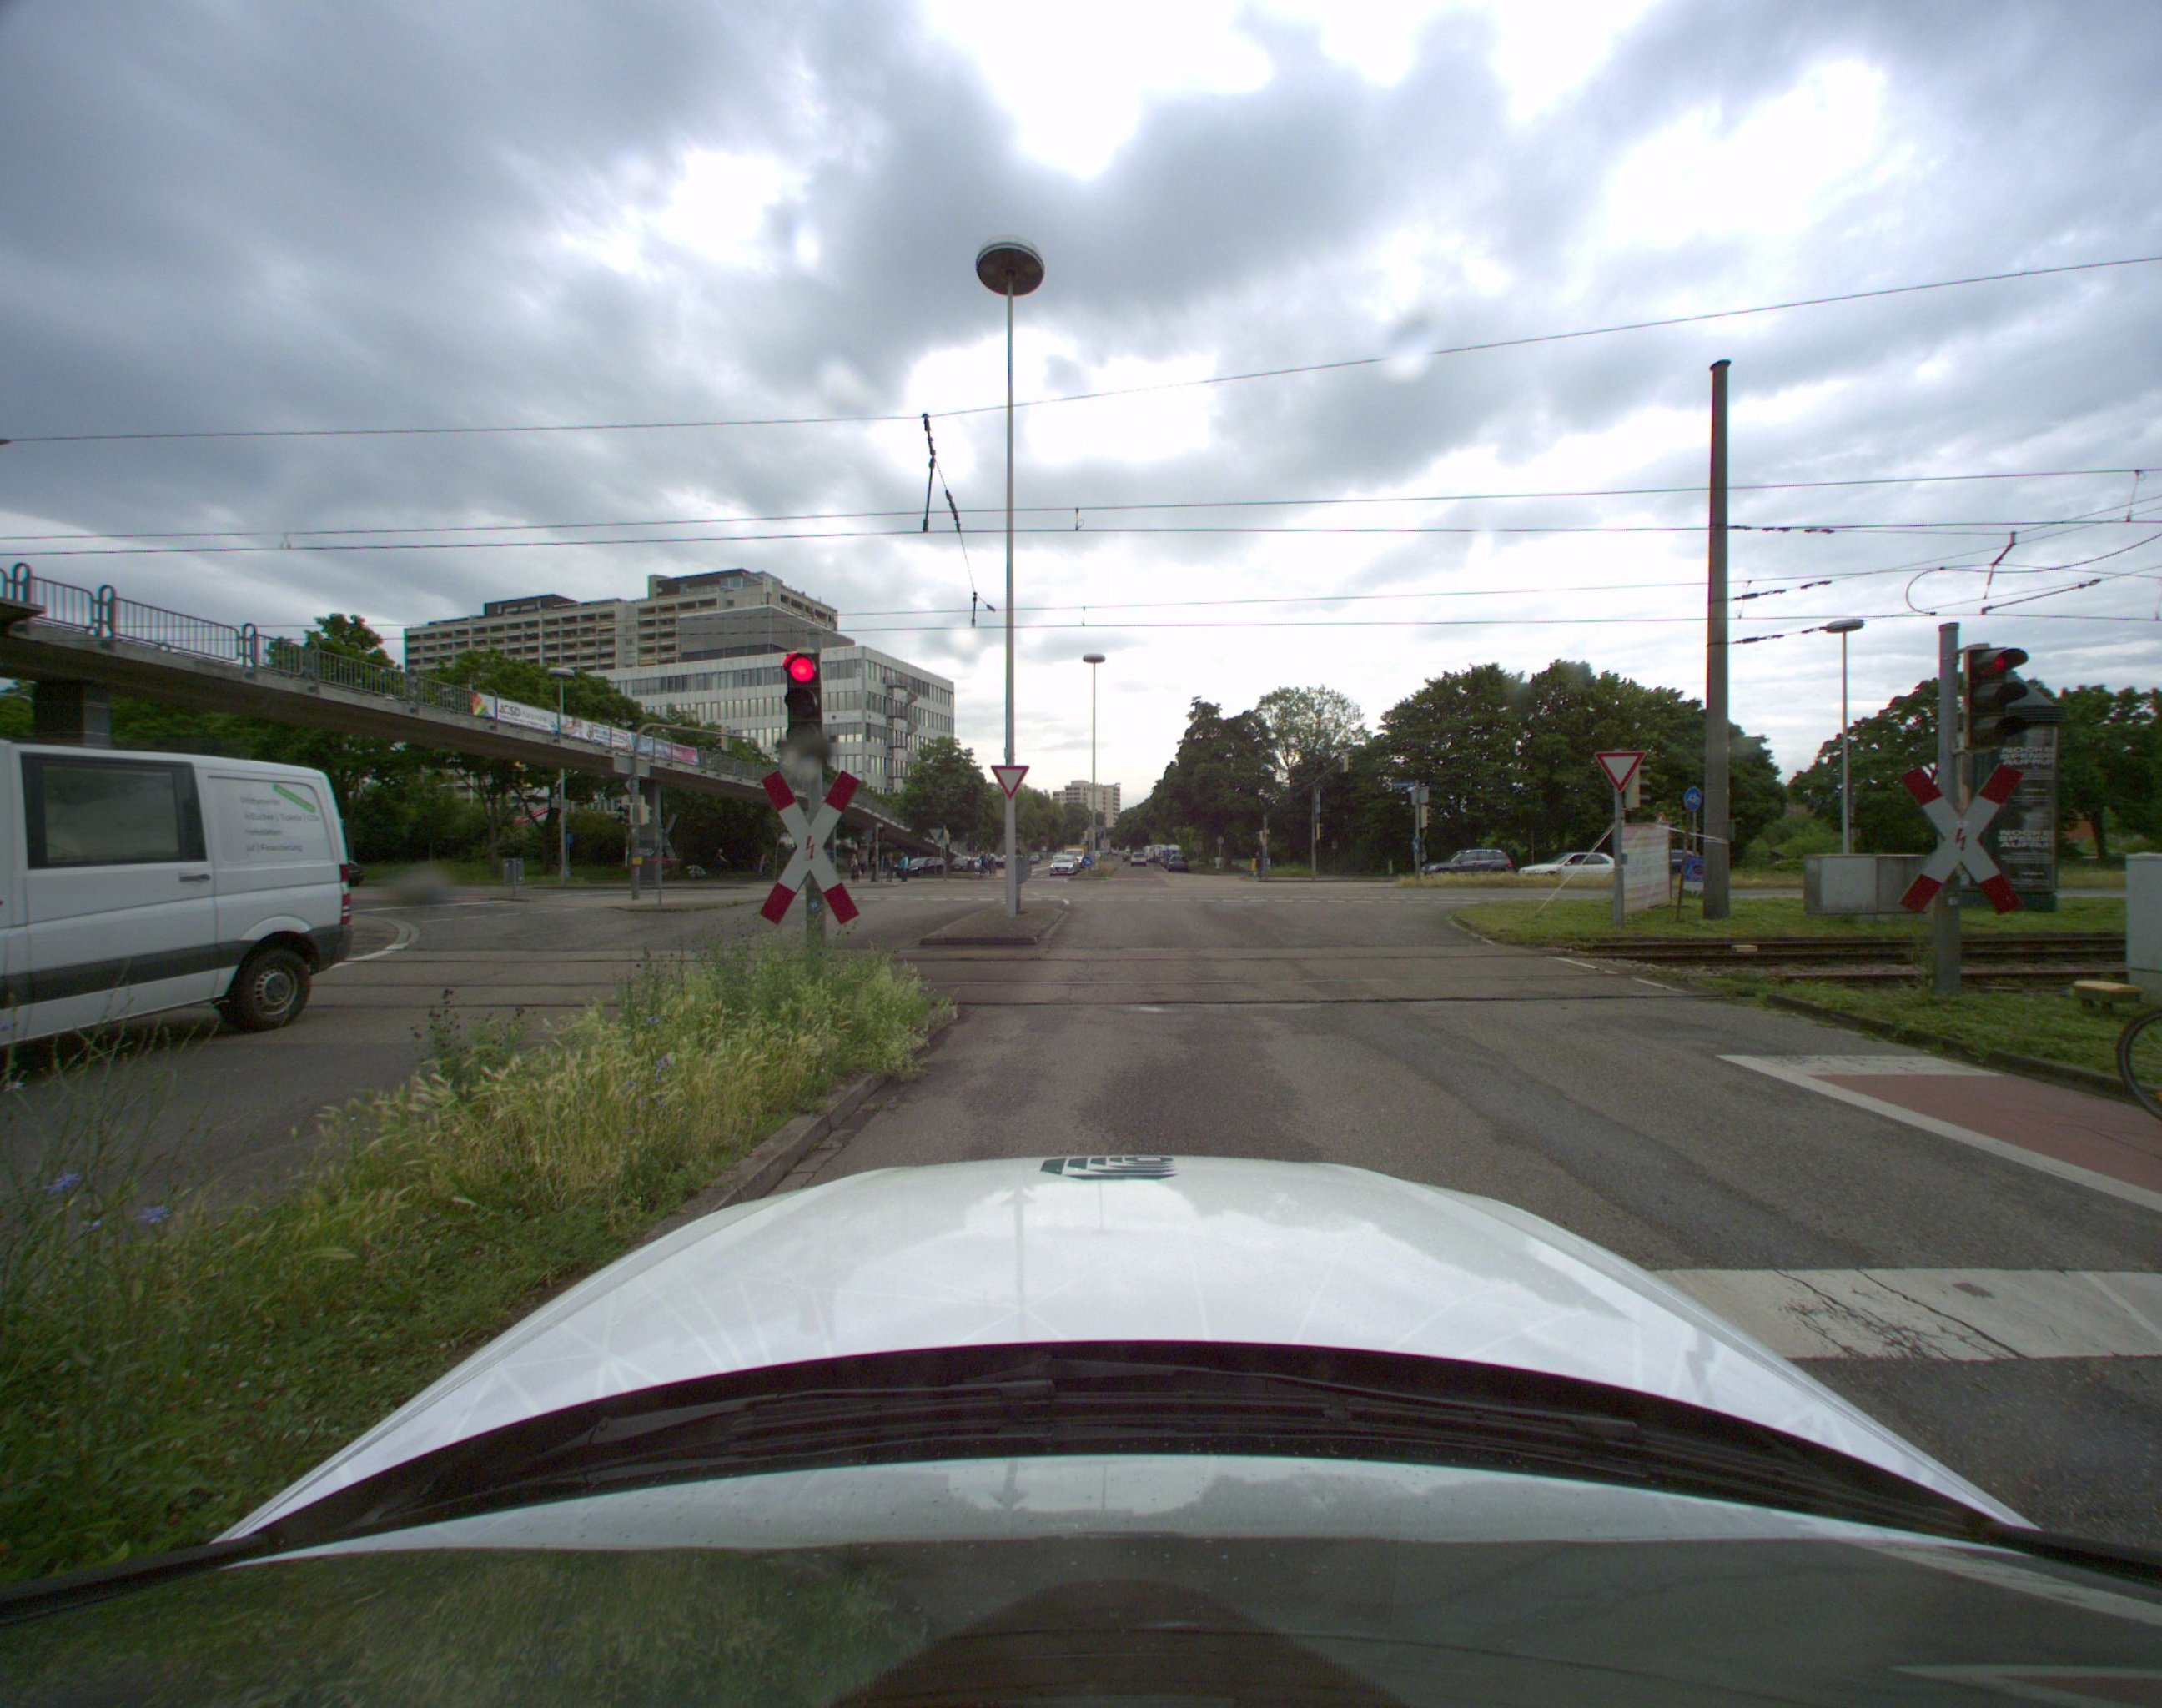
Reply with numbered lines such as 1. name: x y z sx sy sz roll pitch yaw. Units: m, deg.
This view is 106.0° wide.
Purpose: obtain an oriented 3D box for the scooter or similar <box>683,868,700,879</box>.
1. scooter or similar: -25.434 1.280 53.164 1.001 0.715 0.402 0 0 -34

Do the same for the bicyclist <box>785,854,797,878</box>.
1. bicyclist: -19.673 0.811 55.225 0.563 1.644 0.532 0 -1 2

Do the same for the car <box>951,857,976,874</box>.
1. car: -11.205 1.040 78.083 1.665 1.552 3.894 0 0 3

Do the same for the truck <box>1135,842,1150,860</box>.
1. truck: 10.792 -0.453 142.907 1.988 3.009 5.768 0 -1 -1

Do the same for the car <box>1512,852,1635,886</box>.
1. car: 20.447 0.618 33.947 4.120 1.357 1.648 0 0 2

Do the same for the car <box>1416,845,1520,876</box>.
1. car: 19.641 0.324 41.503 4.447 1.504 1.847 0 0 2

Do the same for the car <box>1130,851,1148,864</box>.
1. car: 6.846 0.423 96.906 2.013 1.505 4.002 0 0 2

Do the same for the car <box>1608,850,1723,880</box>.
1. car: 29.373 0.544 40.999 4.447 1.440 1.847 0 0 2

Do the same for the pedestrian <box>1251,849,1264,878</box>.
1. pedestrian: 10.655 0.557 49.171 0.654 1.750 0.459 0 0 1

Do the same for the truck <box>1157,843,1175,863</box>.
1. truck: 12.501 -0.181 119.981 1.988 2.838 5.727 0 0 -2

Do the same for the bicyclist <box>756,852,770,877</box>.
1. bicyclist: -21.248 0.699 54.350 0.746 1.625 0.527 0 0 -4

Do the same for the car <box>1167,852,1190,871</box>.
1. car: 8.797 0.616 73.885 1.777 1.662 4.002 0 0 2

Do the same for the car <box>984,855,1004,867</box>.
1. car: -10.108 0.823 94.995 1.757 1.395 4.002 0 0 2

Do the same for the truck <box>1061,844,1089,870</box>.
1. truck: -0.503 0.245 72.045 2.147 2.199 5.844 0 0 3

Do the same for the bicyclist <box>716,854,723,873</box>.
1. bicyclist: -24.017 0.628 54.107 0.385 1.303 0.275 0 0 -35

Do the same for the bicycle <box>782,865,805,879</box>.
1. bicycle: -19.431 1.212 55.094 0.628 0.925 2.524 0 0 2

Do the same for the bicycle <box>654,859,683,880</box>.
1. bicycle: -26.984 1.011 53.250 1.699 1.304 0.389 0 0 -1

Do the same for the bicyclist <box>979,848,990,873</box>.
1. bicyclist: -6.656 0.445 56.171 0.642 1.768 0.647 0 0 1

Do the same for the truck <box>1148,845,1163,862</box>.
1. truck: 12.098 -0.073 132.072 1.987 2.573 5.377 0 -1 0

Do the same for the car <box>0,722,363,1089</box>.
1. car: -7.871 0.357 5.335 2.133 2.292 5.194 -2 0 -8

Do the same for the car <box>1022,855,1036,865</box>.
1. car: -8.036 0.967 126.309 1.665 1.552 4.003 0 0 3

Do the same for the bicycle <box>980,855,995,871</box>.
1. bicycle: -6.657 0.608 57.998 0.724 1.101 2.265 0 0 2

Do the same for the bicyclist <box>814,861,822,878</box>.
1. bicyclist: -17.747 1.053 55.009 0.403 1.181 0.378 0 1 4

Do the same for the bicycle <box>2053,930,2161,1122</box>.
1. bicycle: 5.947 0.935 3.826 0.381 0.980 2.030 0 -1 2

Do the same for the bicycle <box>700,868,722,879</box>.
1. bicycle: -24.464 1.270 53.835 1.303 0.692 0.287 0 0 -34

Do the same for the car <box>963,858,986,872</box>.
1. car: -10.860 1.100 83.573 1.665 1.387 3.898 0 0 3

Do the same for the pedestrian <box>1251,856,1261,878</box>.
1. pedestrian: 10.709 0.773 49.779 0.525 1.342 0.525 0 0 1

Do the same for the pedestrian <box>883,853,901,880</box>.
1. pedestrian: -10.747 0.715 46.326 0.917 1.511 0.402 0 0 -10

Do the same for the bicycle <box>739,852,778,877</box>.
1. bicycle: -21.515 0.701 54.311 2.354 1.625 0.527 0 0 -5

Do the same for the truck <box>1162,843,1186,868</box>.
1. truck: 10.277 0.202 90.662 2.166 2.656 6.249 -1 0 2

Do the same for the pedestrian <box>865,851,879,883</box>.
1. pedestrian: -11.883 0.739 46.254 0.636 1.803 0.800 0 0 -7

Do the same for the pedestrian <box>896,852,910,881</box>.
1. pedestrian: -10.093 0.711 46.234 0.685 1.605 0.487 0 0 -3

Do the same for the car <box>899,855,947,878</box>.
1. car: -11.111 0.865 57.558 1.658 1.552 4.018 0 0 17

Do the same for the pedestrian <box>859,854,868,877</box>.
1. pedestrian: -15.222 0.814 57.044 0.580 1.579 0.777 0 0 -16

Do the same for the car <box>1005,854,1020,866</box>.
1. car: -8.865 0.792 105.544 1.439 1.552 3.666 0 0 2

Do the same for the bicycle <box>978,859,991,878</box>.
1. bicycle: -6.644 0.988 56.131 0.541 1.267 2.112 0 0 2

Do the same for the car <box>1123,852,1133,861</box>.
1. car: 8.002 0.488 138.377 1.549 1.505 4.000 0 0 0

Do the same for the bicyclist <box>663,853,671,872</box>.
1. bicyclist: -27.064 0.568 53.224 0.404 1.253 0.277 0 0 1

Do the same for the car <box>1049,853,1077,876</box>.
1. car: -1.236 0.707 58.053 1.782 1.519 4.327 0 0 2

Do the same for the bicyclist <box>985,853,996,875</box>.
1. bicyclist: -6.509 0.726 58.859 0.676 1.594 0.695 0 -1 1

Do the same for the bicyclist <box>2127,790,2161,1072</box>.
1. bicyclist: 5.770 0.401 3.748 0.619 1.424 0.961 4 0 1

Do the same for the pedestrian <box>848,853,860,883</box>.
1. pedestrian: -12.810 0.798 46.036 0.619 1.691 0.403 0 0 -12
